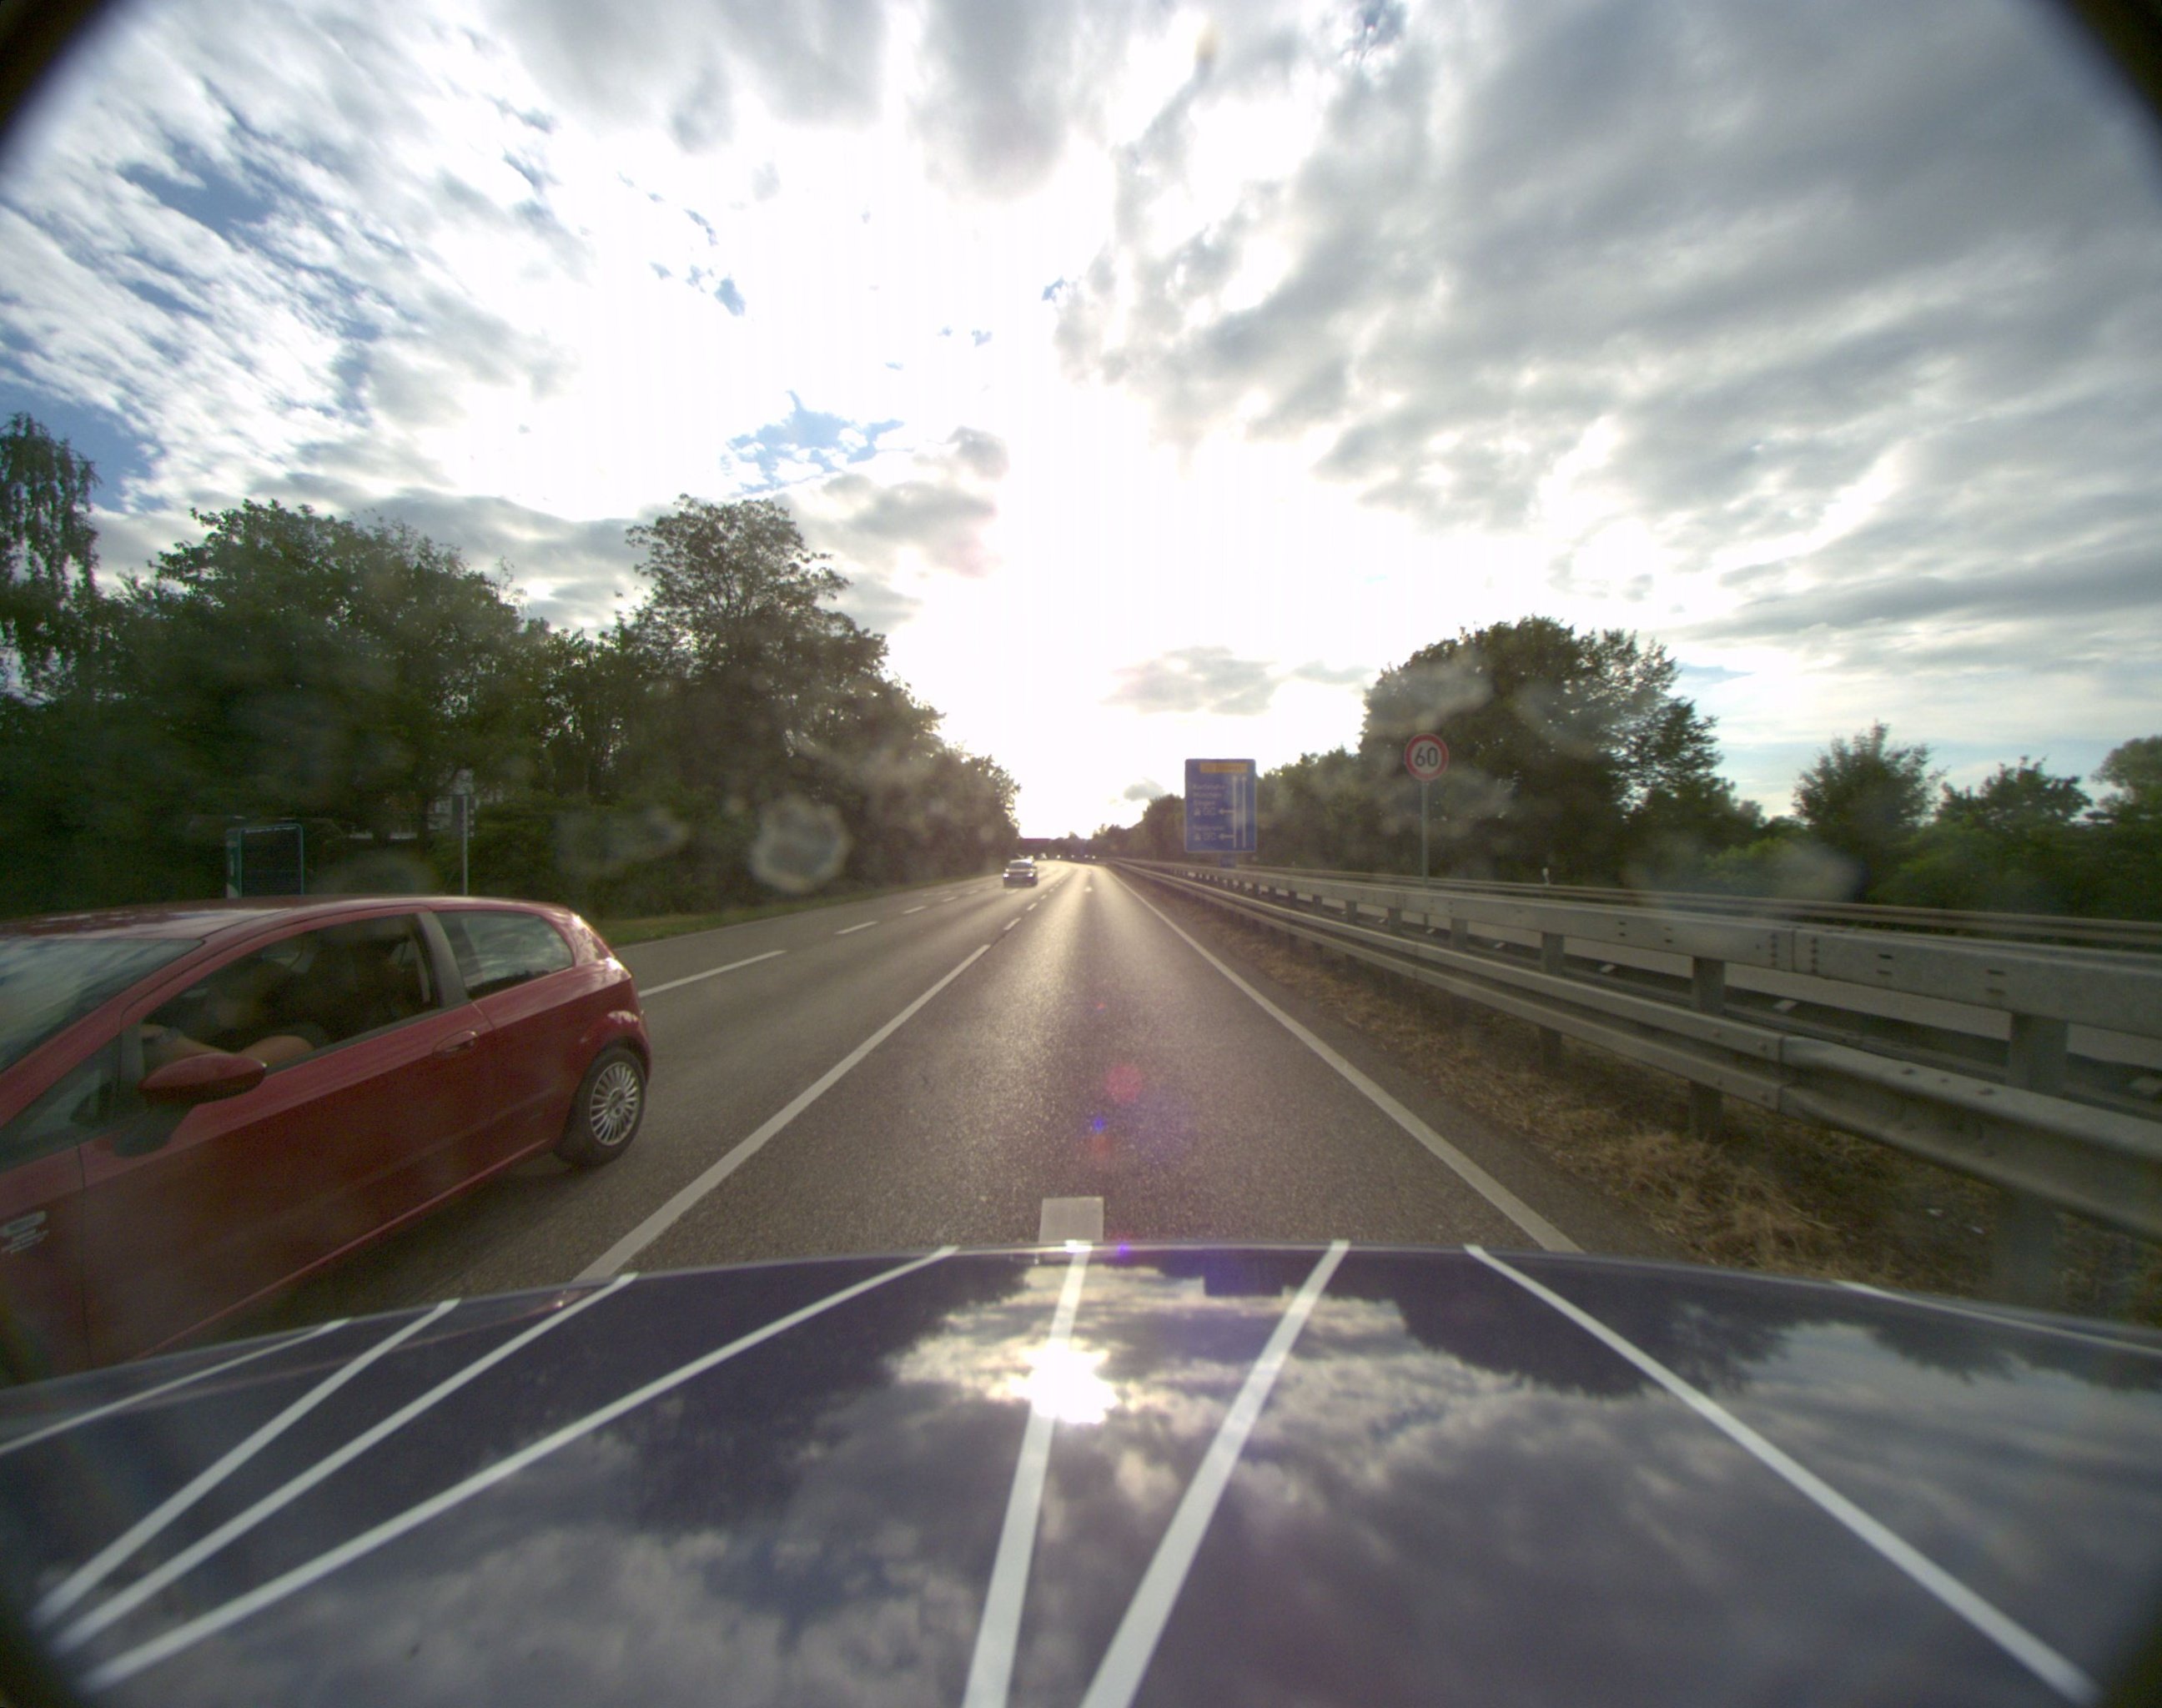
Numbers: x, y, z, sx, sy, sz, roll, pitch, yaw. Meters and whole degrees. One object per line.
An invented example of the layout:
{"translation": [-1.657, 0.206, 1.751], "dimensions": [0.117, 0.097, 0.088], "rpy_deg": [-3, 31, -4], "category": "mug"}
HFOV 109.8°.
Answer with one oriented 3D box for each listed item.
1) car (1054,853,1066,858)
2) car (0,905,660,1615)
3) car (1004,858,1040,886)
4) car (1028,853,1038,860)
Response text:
{"translation": [-7.201, 0.494, 259.141], "dimensions": [3.998, 1.486, 1.999], "rpy_deg": [0, 0, -3], "category": "car"}
{"translation": [-3.307, 1.038, 2.410], "dimensions": [1.667, 1.424, 3.994], "rpy_deg": [-2, 0, 0], "category": "car"}
{"translation": [-3.279, 0.958, 42.846], "dimensions": [1.700, 1.407, 3.999], "rpy_deg": [-2, 0, 0], "category": "car"}
{"translation": [-10.748, 0.523, 171.528], "dimensions": [1.998, 1.486, 4.000], "rpy_deg": [0, 0, 1], "category": "car"}
